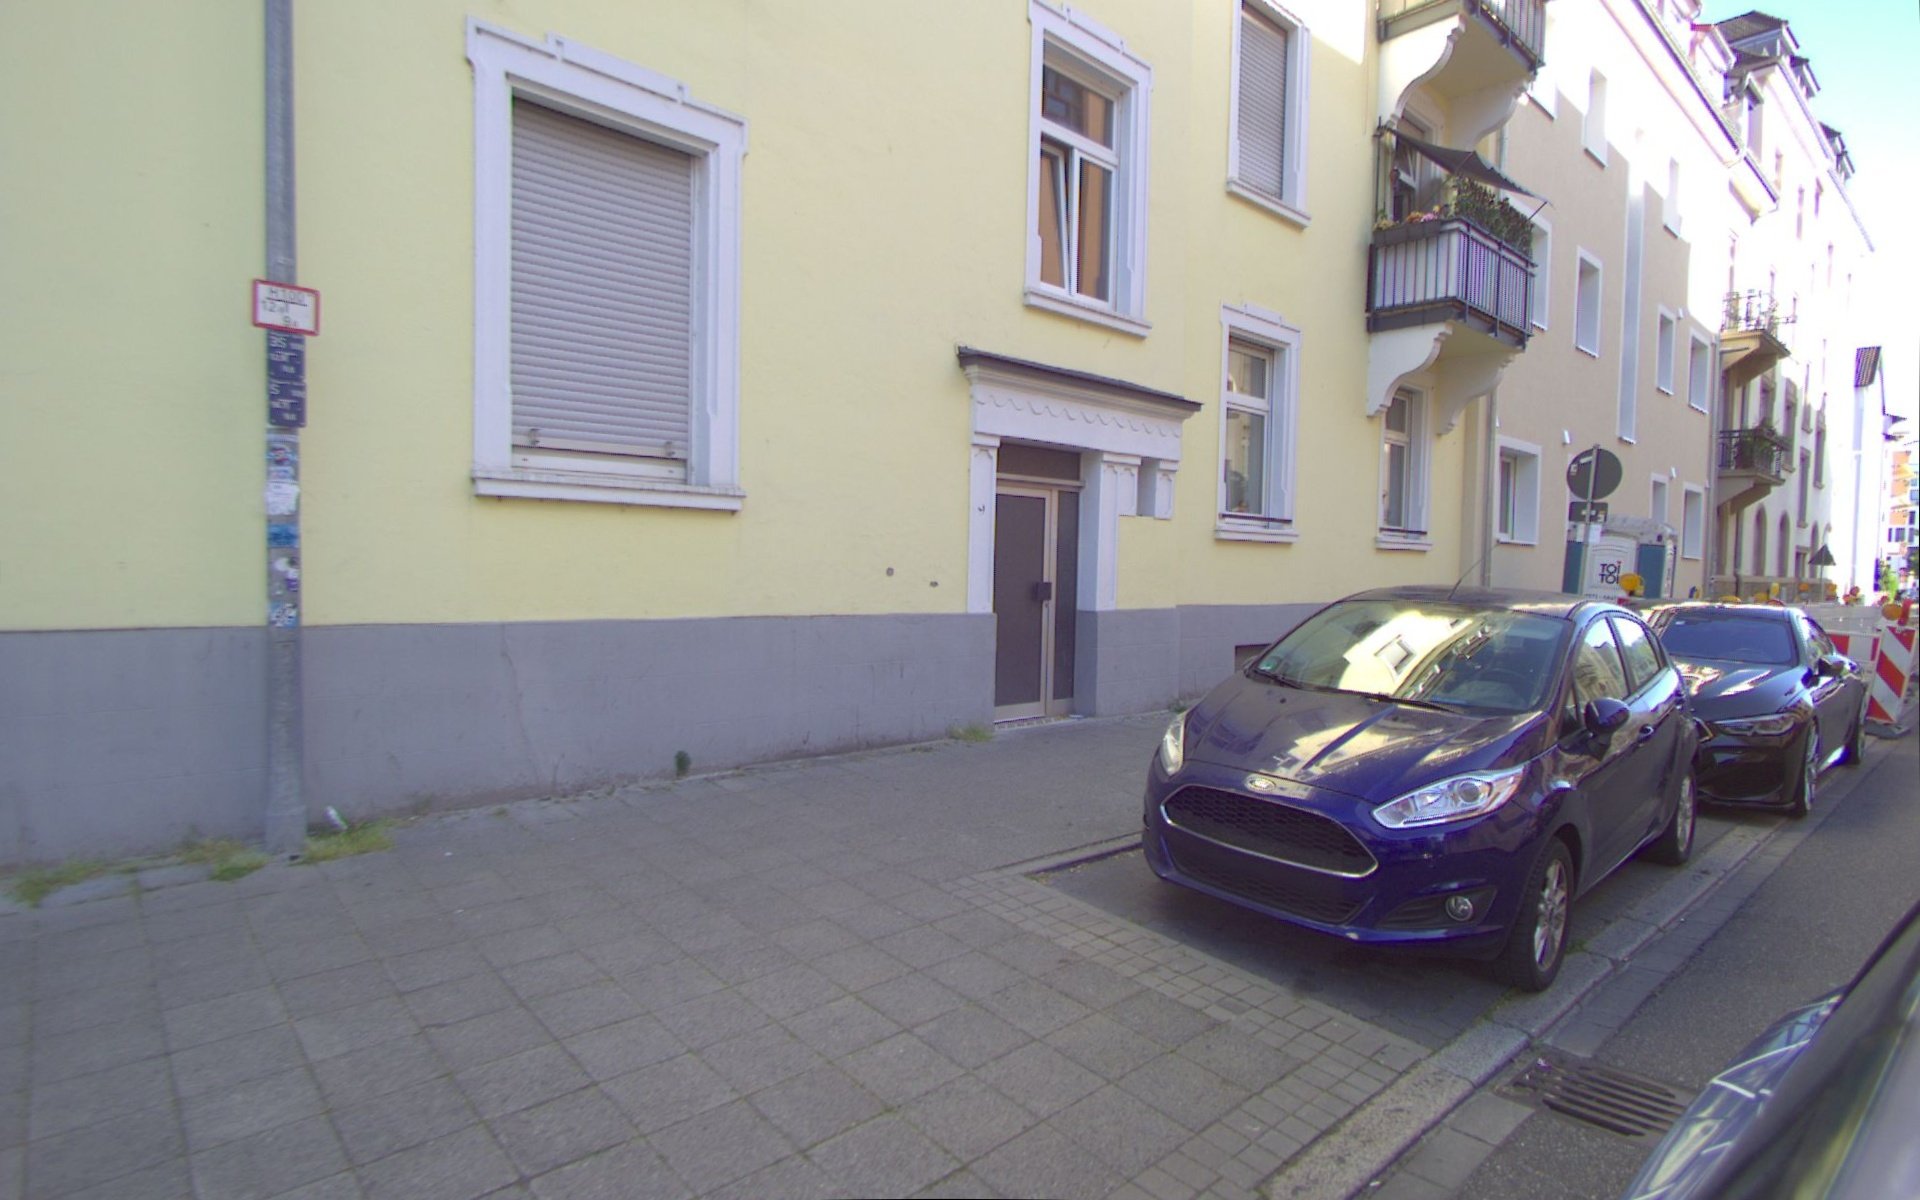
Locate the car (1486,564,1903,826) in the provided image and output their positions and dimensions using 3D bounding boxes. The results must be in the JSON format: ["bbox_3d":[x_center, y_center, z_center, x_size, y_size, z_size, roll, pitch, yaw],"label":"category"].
[{"bbox_3d":[6.375,0.535,8.499,5.025,1.488,1.804,-1,5,-43],"label":"car"}]

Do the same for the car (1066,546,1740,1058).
[{"bbox_3d":[2.506,0.562,5.130,1.764,1.488,4.020,6,5,44],"label":"car"}]

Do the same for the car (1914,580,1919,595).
[{"bbox_3d":[97.095,-1.172,101.036,1.747,1.471,3.955,7,5,32],"label":"car"}]
